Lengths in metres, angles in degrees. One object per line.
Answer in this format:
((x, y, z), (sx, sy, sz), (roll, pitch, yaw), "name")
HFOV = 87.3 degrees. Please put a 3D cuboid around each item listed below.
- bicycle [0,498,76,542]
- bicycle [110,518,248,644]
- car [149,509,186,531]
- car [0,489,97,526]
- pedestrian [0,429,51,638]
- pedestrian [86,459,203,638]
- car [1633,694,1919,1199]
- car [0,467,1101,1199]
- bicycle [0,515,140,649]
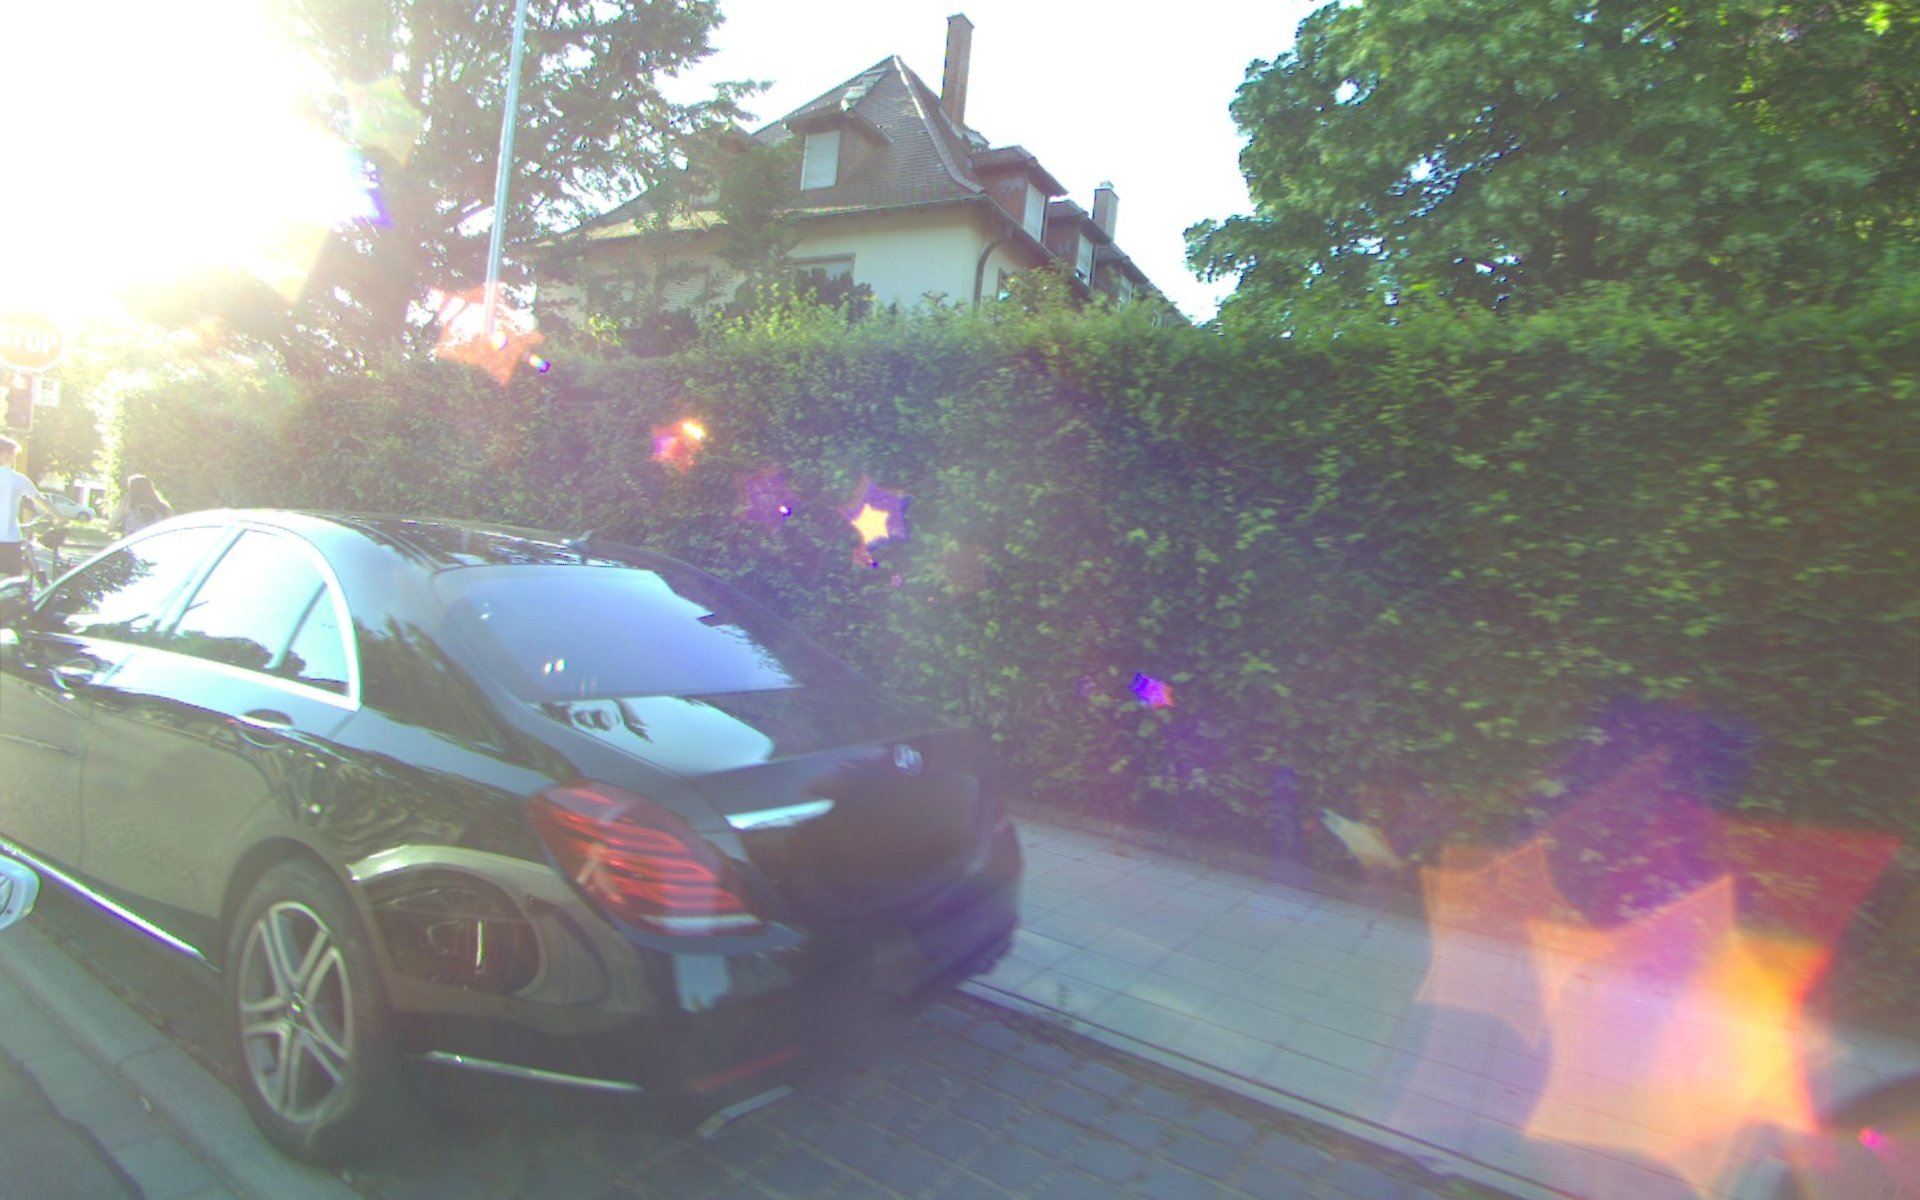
((-29.632, -2.567, 32.128), (0.610, 1.146, 1.954), (7, 0, 34), "bicycle")
((-8.214, -0.215, 10.564), (1.570, 1.158, 0.487), (7, 3, 26), "bicycle")
((-60.196, -6.070, 76.468), (1.652, 1.435, 3.513), (6, 0, -31), "car")
((-51.911, -5.238, 57.298), (1.570, 1.445, 3.852), (7, 0, 28), "car")
((-9.062, -0.633, 9.300), (0.866, 1.891, 0.670), (7, 4, 27), "pedestrian")
((-8.324, -0.513, 10.273), (0.612, 1.731, 0.670), (7, 3, 27), "pedestrian")
((2.769, 1.085, 0.537), (3.871, 1.446, 1.641), (7, 2, 32), "car")
((-2.137, 0.471, 3.684), (4.791, 1.561, 1.861), (6, 0, 31), "car")
((-8.675, -0.200, 9.695), (1.759, 1.112, 0.487), (7, 4, 26), "bicycle")
